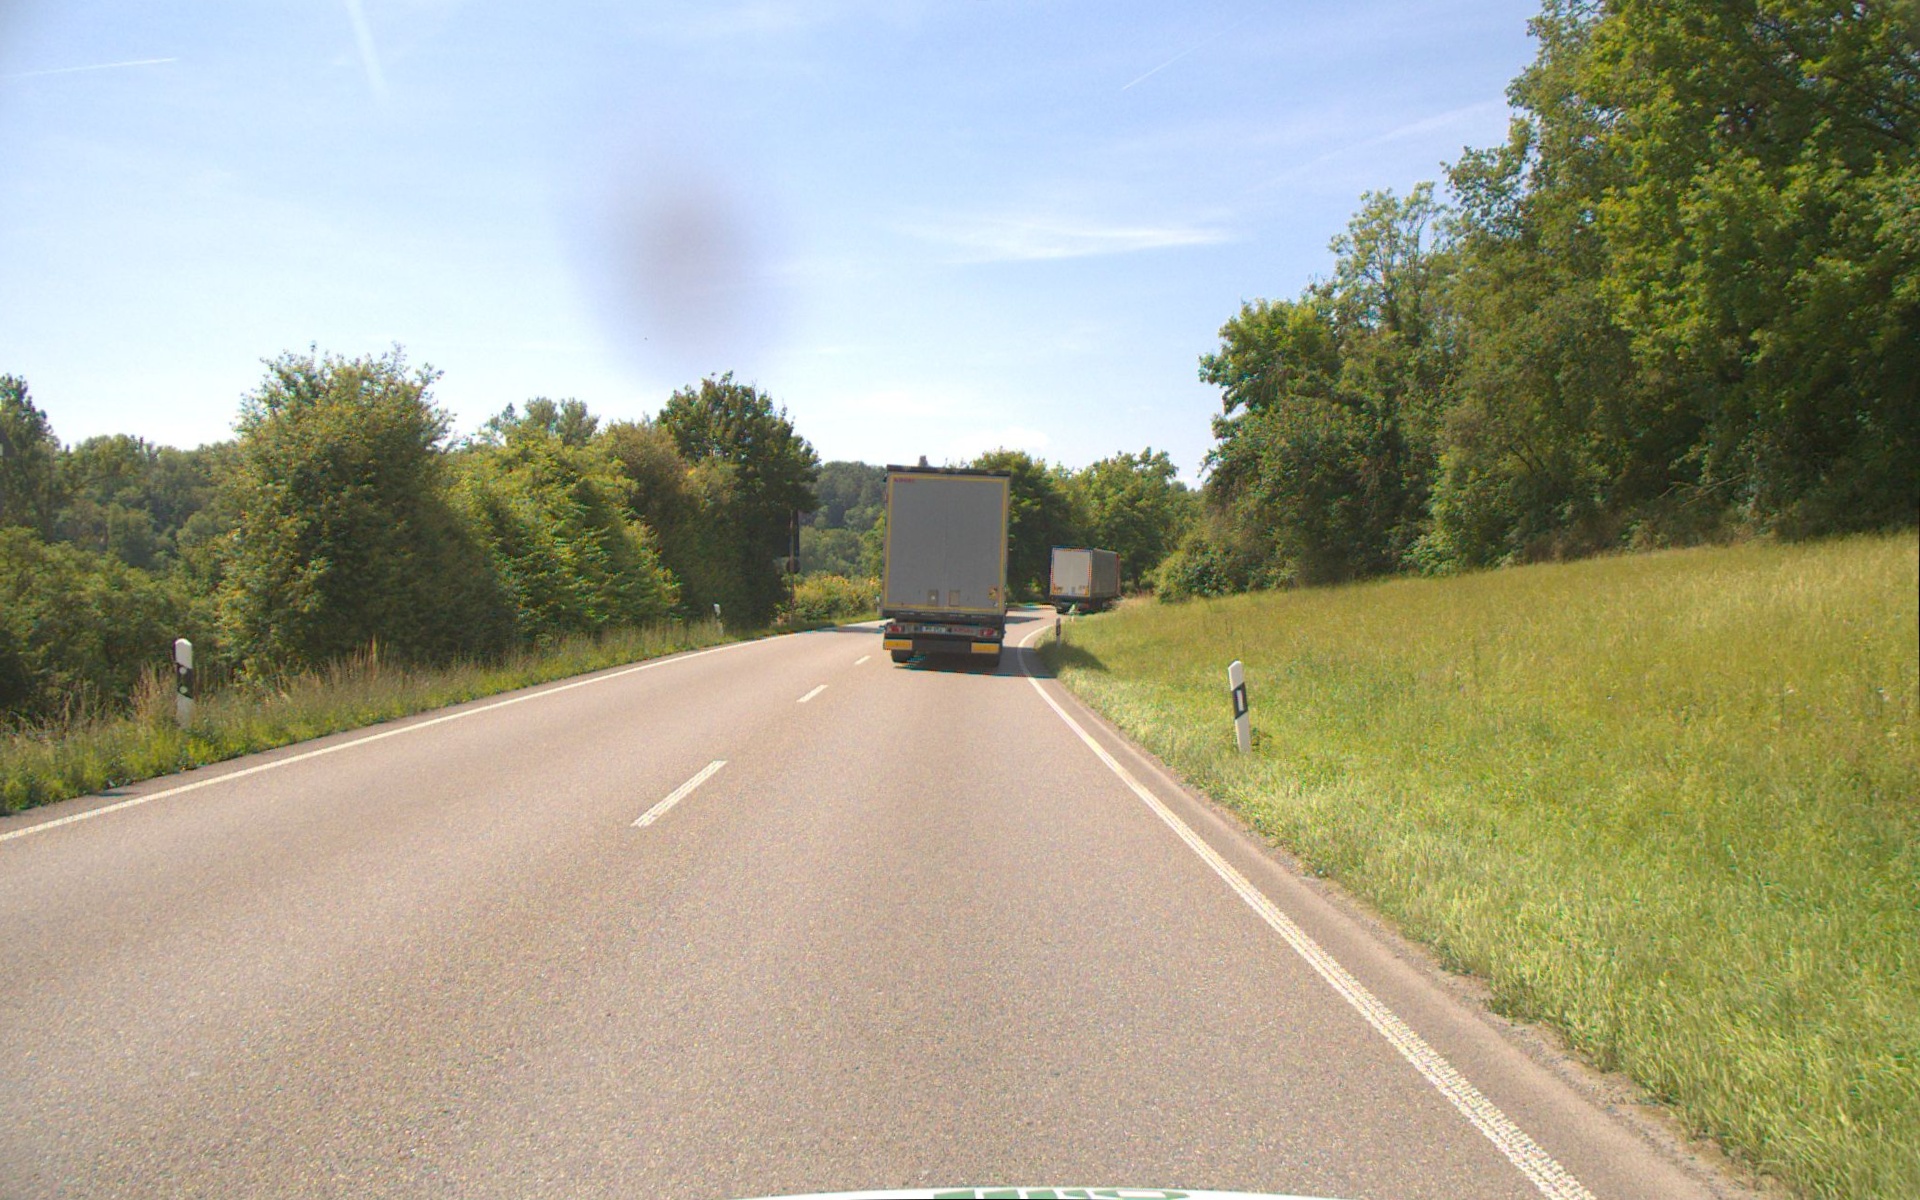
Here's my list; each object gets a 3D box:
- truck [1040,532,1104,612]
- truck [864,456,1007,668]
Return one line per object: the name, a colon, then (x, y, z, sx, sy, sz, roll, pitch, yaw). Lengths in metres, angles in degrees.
truck: (7.420, -1.801, 107.534, 3.039, 4.787, 16.603, 1, 1, 8)
truck: (-0.379, -0.755, 40.421, 2.744, 4.140, 15.326, 1, 0, 1)
